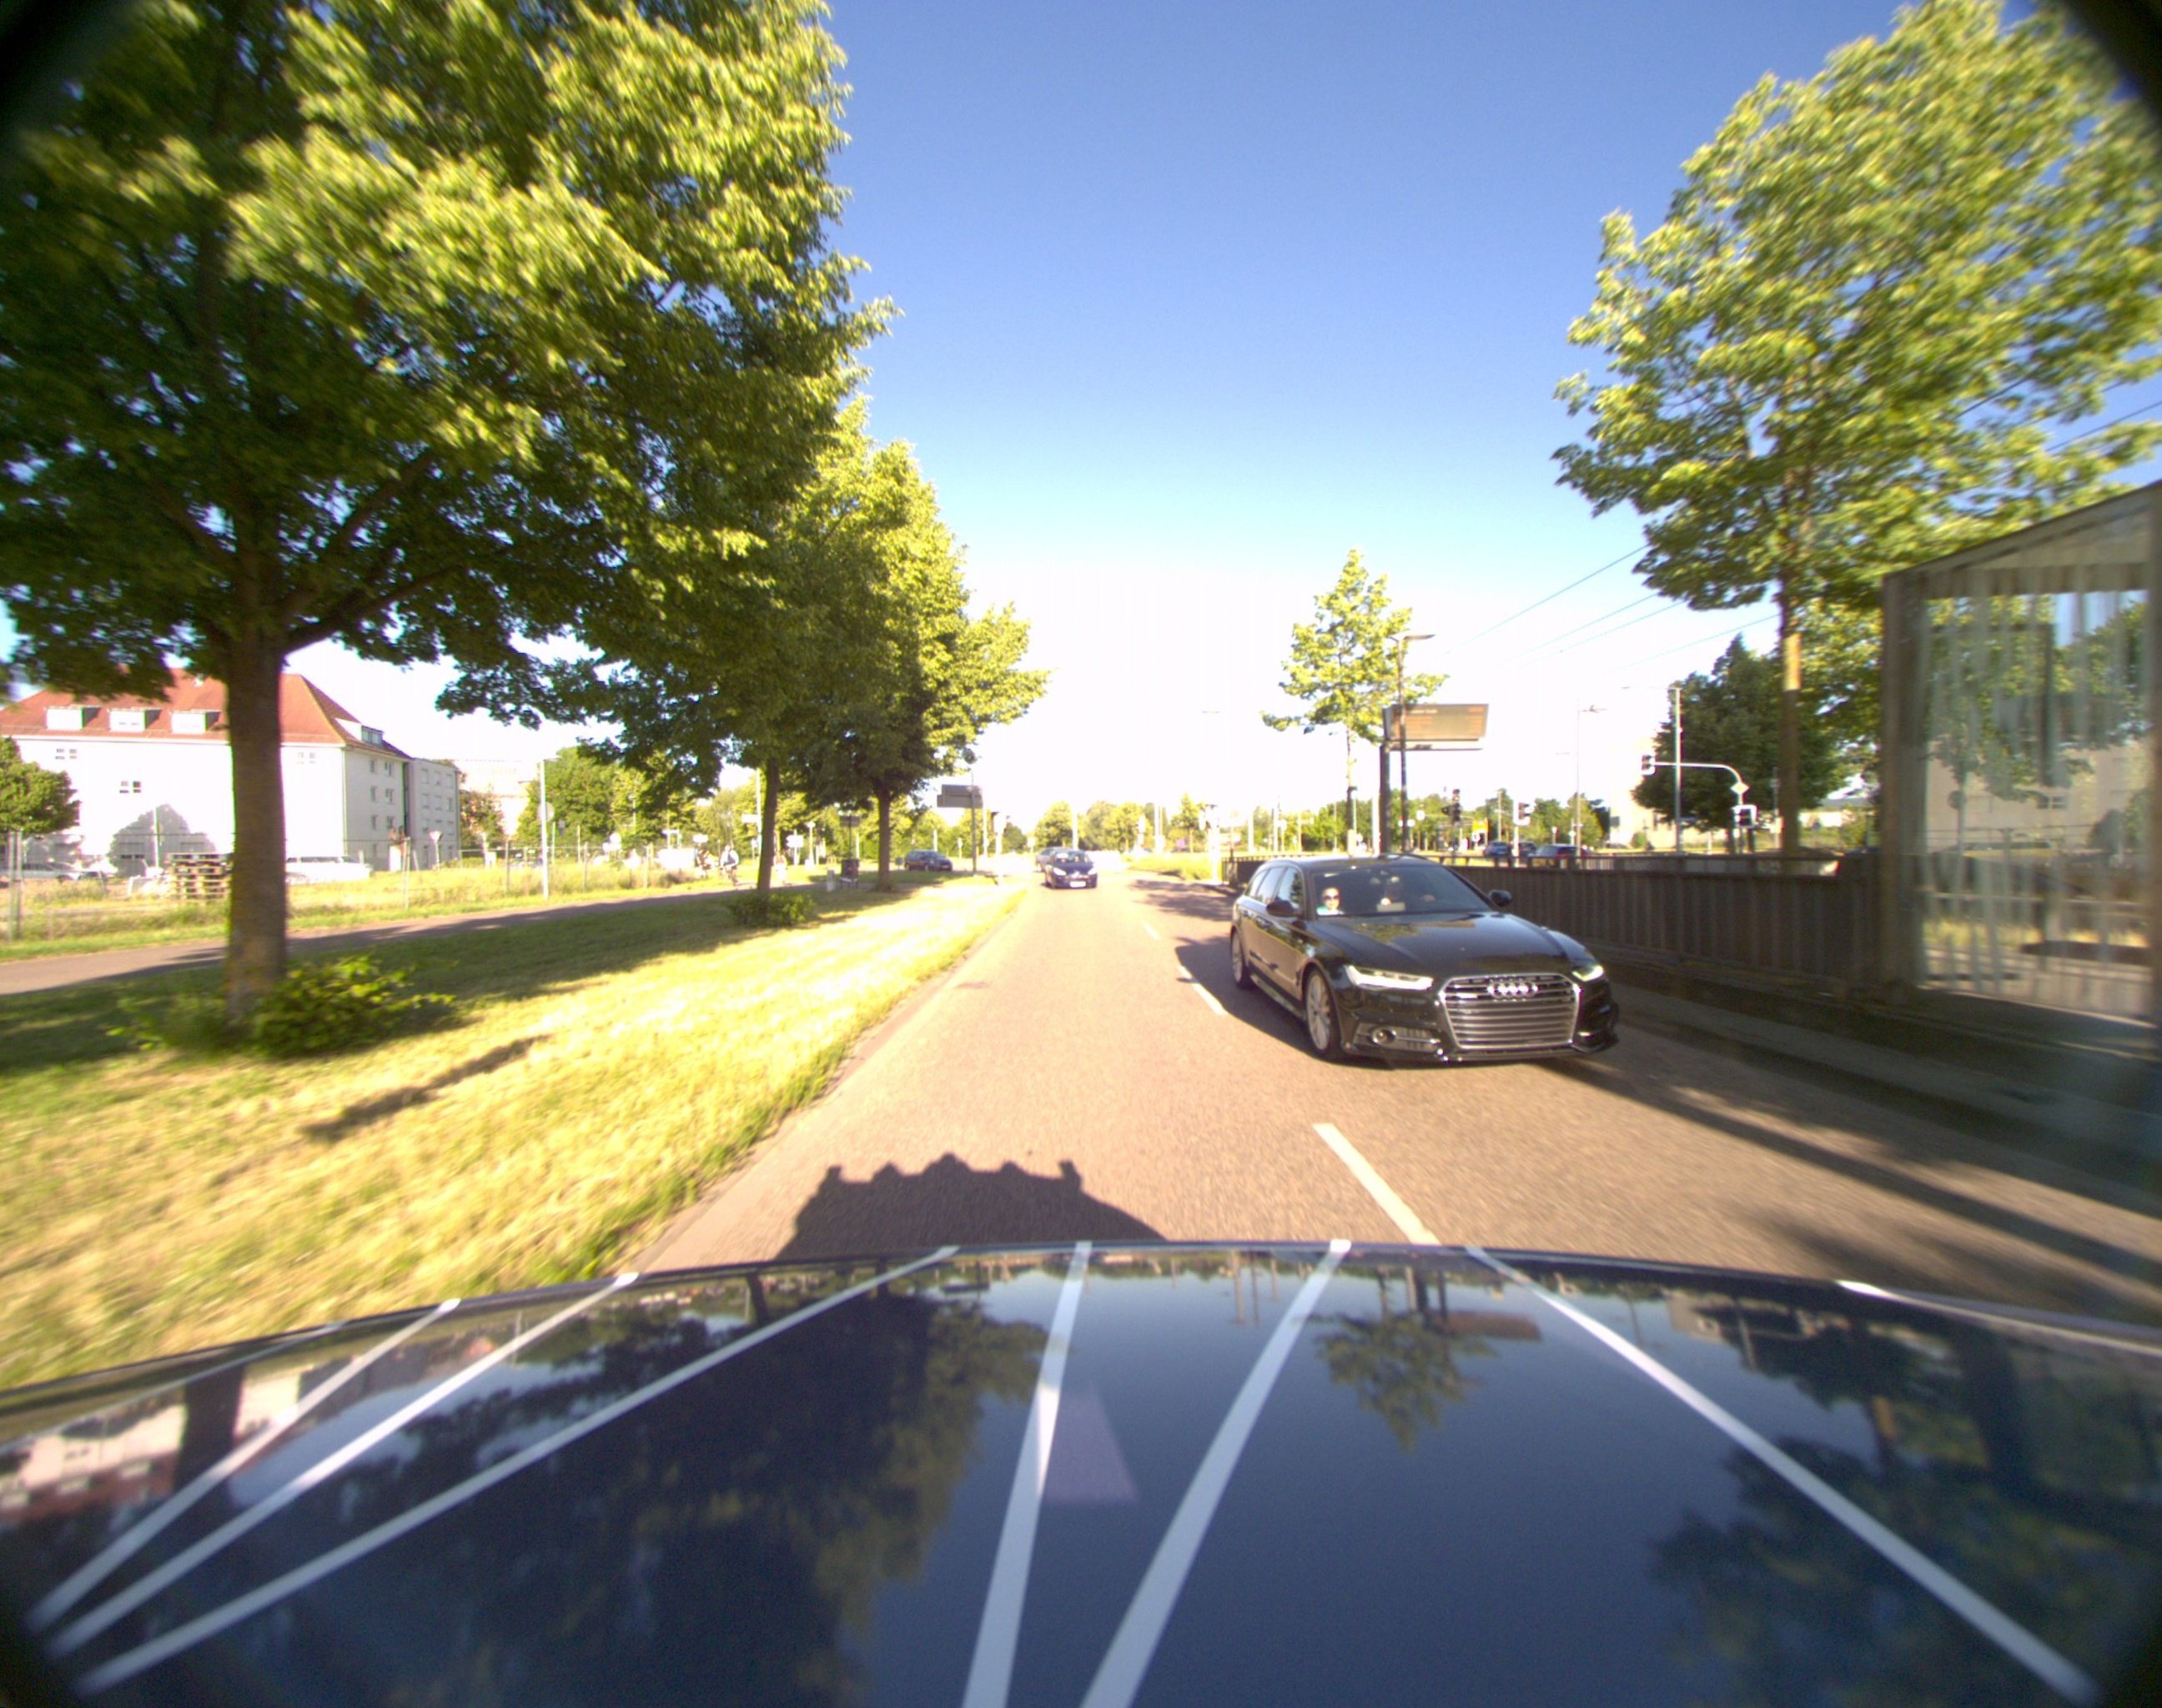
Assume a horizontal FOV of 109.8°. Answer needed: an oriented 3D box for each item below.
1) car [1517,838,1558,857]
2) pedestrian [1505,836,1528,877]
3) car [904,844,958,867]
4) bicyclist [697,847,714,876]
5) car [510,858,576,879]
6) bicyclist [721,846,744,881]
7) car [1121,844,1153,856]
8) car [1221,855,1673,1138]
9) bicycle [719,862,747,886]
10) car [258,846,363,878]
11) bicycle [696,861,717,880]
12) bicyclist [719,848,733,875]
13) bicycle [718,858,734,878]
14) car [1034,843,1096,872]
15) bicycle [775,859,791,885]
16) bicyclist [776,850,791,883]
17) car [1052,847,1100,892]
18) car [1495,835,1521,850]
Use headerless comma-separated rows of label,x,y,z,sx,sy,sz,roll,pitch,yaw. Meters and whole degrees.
car,35.142,-0.532,58.424,3.619,1.387,1.660,-1,1,-41
pedestrian,16.897,0.088,29.489,0.418,1.569,0.811,-1,3,-2
car,-9.997,0.063,50.381,1.854,1.420,3.936,-2,2,-39
bicyclist,-21.126,0.396,42.747,0.594,1.578,0.963,-3,3,-38
car,-42.477,1.113,60.087,4.005,1.370,1.753,-2,2,-25
bicyclist,-15.377,0.411,33.530,0.656,1.544,0.792,-2,2,-41
car,7.395,-0.542,101.088,4.010,1.420,1.801,-2,2,-6
car,2.531,0.831,6.669,1.788,1.518,4.601,-2,1,1
bicycle,-15.364,0.888,33.529,0.659,1.006,1.815,-2,1,-40
car,-52.166,0.516,51.555,4.477,2.002,1.996,-1,1,-20
bicycle,-21.049,0.908,42.683,0.594,0.955,1.895,-3,3,-39
bicyclist,-20.420,0.427,43.698,0.472,1.478,0.913,-3,3,-37
bicycle,-20.424,0.812,43.730,0.480,1.076,1.639,-3,3,-37
car,-1.000,0.199,43.996,1.853,1.560,4.518,-1,1,-26
bicycle,-13.561,0.793,34.592,0.508,1.145,1.601,-1,1,-26
bicyclist,-13.456,0.541,34.376,0.505,1.464,0.832,-2,2,-26
car,-0.219,0.559,30.187,1.763,1.507,3.946,-1,2,-1
car,39.593,-1.051,70.441,1.660,1.257,3.628,0,3,36
